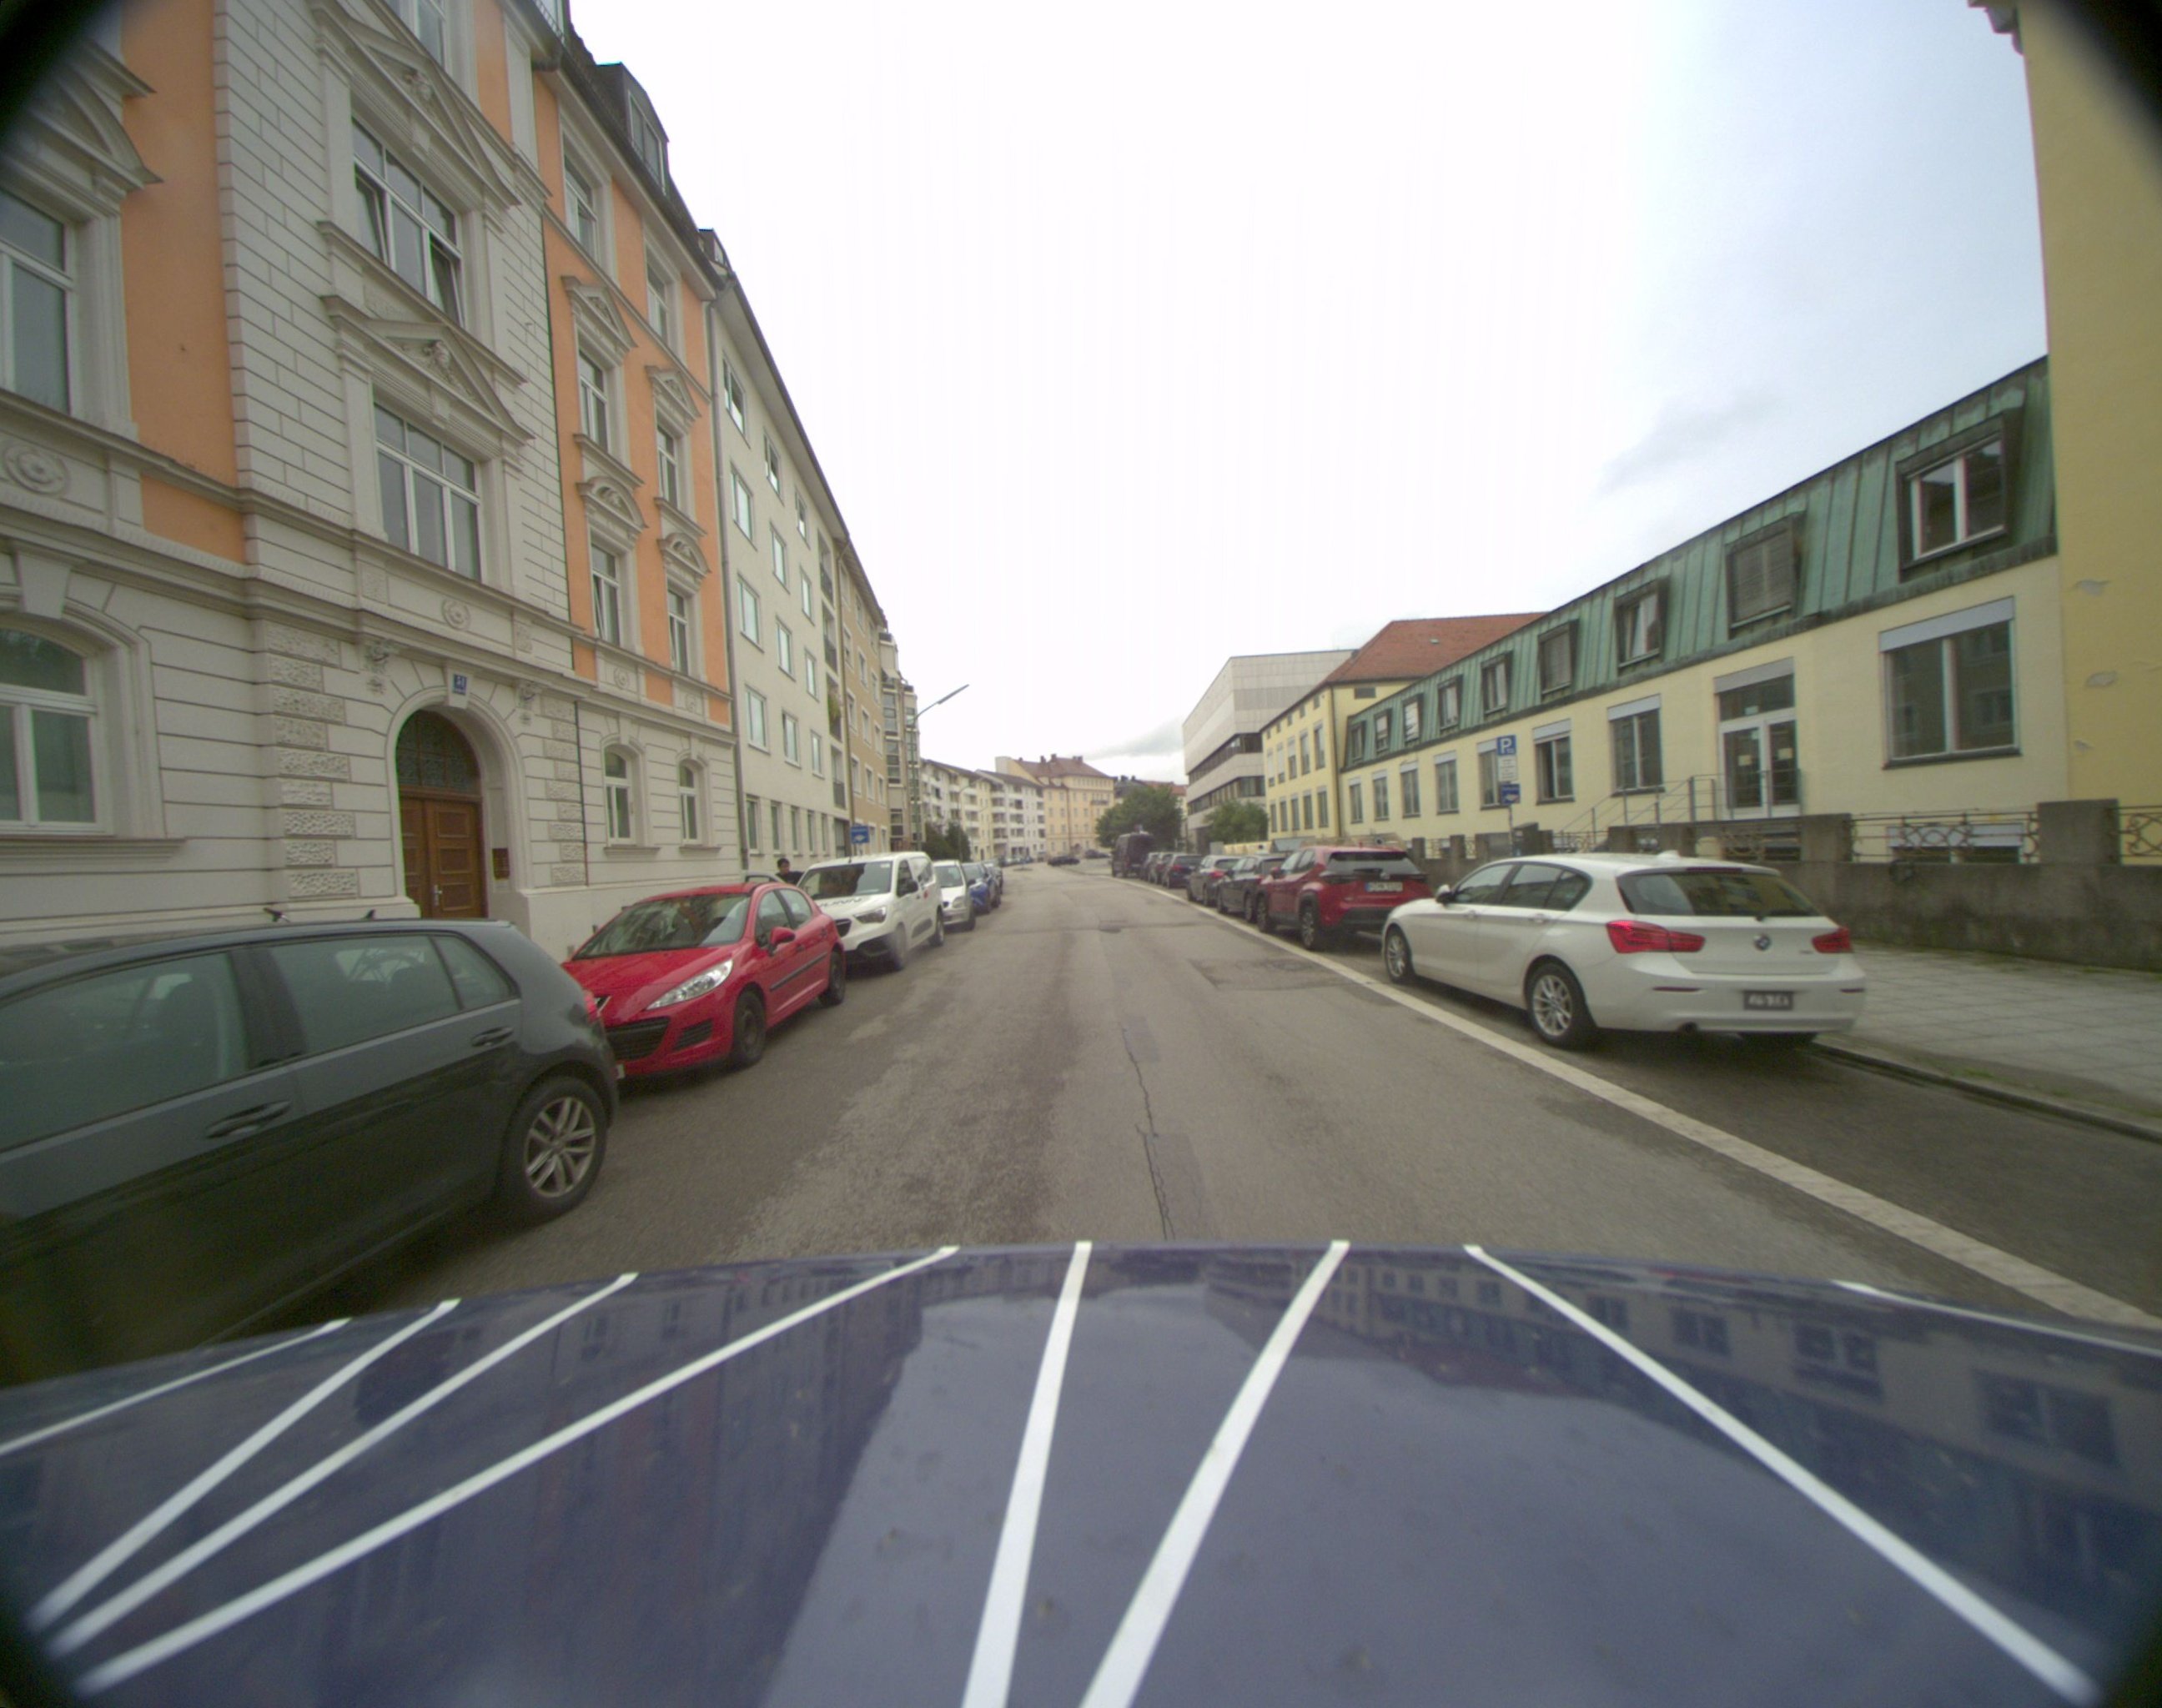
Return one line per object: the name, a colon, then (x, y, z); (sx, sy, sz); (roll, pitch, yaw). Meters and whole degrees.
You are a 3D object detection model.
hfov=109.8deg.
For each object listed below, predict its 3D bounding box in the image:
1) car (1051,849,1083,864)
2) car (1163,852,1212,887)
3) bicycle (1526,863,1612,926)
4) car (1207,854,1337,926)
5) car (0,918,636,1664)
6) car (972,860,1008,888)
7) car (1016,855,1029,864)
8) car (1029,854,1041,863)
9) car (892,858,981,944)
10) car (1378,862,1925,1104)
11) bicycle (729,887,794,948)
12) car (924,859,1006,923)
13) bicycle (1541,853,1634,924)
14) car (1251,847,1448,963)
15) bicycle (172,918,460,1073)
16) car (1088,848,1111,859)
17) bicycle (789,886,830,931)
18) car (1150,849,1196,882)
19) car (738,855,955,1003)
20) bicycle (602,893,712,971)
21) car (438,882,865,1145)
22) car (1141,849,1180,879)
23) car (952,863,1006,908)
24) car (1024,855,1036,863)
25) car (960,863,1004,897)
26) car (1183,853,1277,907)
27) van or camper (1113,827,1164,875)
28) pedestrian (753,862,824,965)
car: (-1.953, 0.344, 103.776); (4.248, 1.849, 1.999); (-3, 1, -5)
car: (4.514, 0.627, 32.637); (1.699, 1.397, 4.000); (0, 0, 2)
bicycle: (8.722, 0.696, 13.648); (0.456, 0.989, 1.741); (-5, 0, 4)
car: (4.120, 0.718, 17.030); (1.679, 1.397, 3.989); (0, 0, -4)
car: (-3.298, 1.154, 1.897); (1.696, 1.443, 4.083); (-6, 1, 3)
car: (-5.234, 1.104, 43.958); (1.896, 1.454, 4.488); (-2, 0, -6)
car: (-10.274, 0.963, 134.076); (1.756, 1.445, 3.570); (-4, 0, 2)
car: (-8.843, 0.888, 146.274); (1.756, 1.445, 3.570); (-4, 0, 2)
car: (-3.284, 1.004, 17.879); (1.608, 1.633, 3.629); (-5, 1, -6)
car: (4.248, 0.803, 6.606); (1.679, 1.390, 3.996); (0, 0, -2)
bicycle: (-6.879, 1.339, 16.462); (0.669, 1.115, 1.954); (-4, 1, -6)
car: (-3.410, 1.036, 23.168); (1.745, 1.578, 4.200); (-5, 0, 0)
bicycle: (9.164, 0.579, 13.843); (0.424, 1.165, 1.938); (-5, 0, 4)
car: (4.084, 0.674, 12.279); (1.679, 1.557, 3.996); (0, 0, -2)
bicycle: (-7.421, 1.299, 7.563); (0.652, 1.176, 2.096); (-2, -1, 3)
car: (3.437, -0.153, 140.074); (3.997, 1.849, 2.000); (-3, 1, 1)
bicycle: (-7.794, 1.541, 21.882); (0.669, 1.115, 1.651); (-4, 1, -6)
car: (4.508, 0.521, 37.523); (1.700, 1.553, 3.866); (0, 0, -1)
car: (-3.544, 1.006, 12.605); (1.845, 1.775, 4.894); (-6, 0, 1)
bicycle: (-7.381, 1.310, 13.352); (0.652, 1.176, 2.096); (-2, -1, 3)
car: (-3.503, 1.154, 7.288); (1.603, 1.443, 4.300); (-6, 1, -1)
car: (4.367, 0.508, 42.073); (1.642, 1.553, 3.838); (0, 0, -1)
car: (-3.768, 1.140, 28.684); (1.746, 1.388, 4.198); (-5, 0, -6)
car: (-9.476, 0.931, 140.198); (1.756, 1.445, 3.570); (-4, 0, 2)
car: (-4.738, 1.210, 36.932); (1.896, 1.388, 4.488); (-3, 1, -6)
car: (4.204, 0.682, 22.058); (1.798, 1.397, 4.126); (0, 0, -2)
van or camper: (3.562, -0.176, 48.452); (2.142, 2.791, 5.569); (-2, 0, -7)
pedestrian: (-4.986, 0.999, 12.981); (0.863, 1.652, 0.647); (-3, 1, 0)
